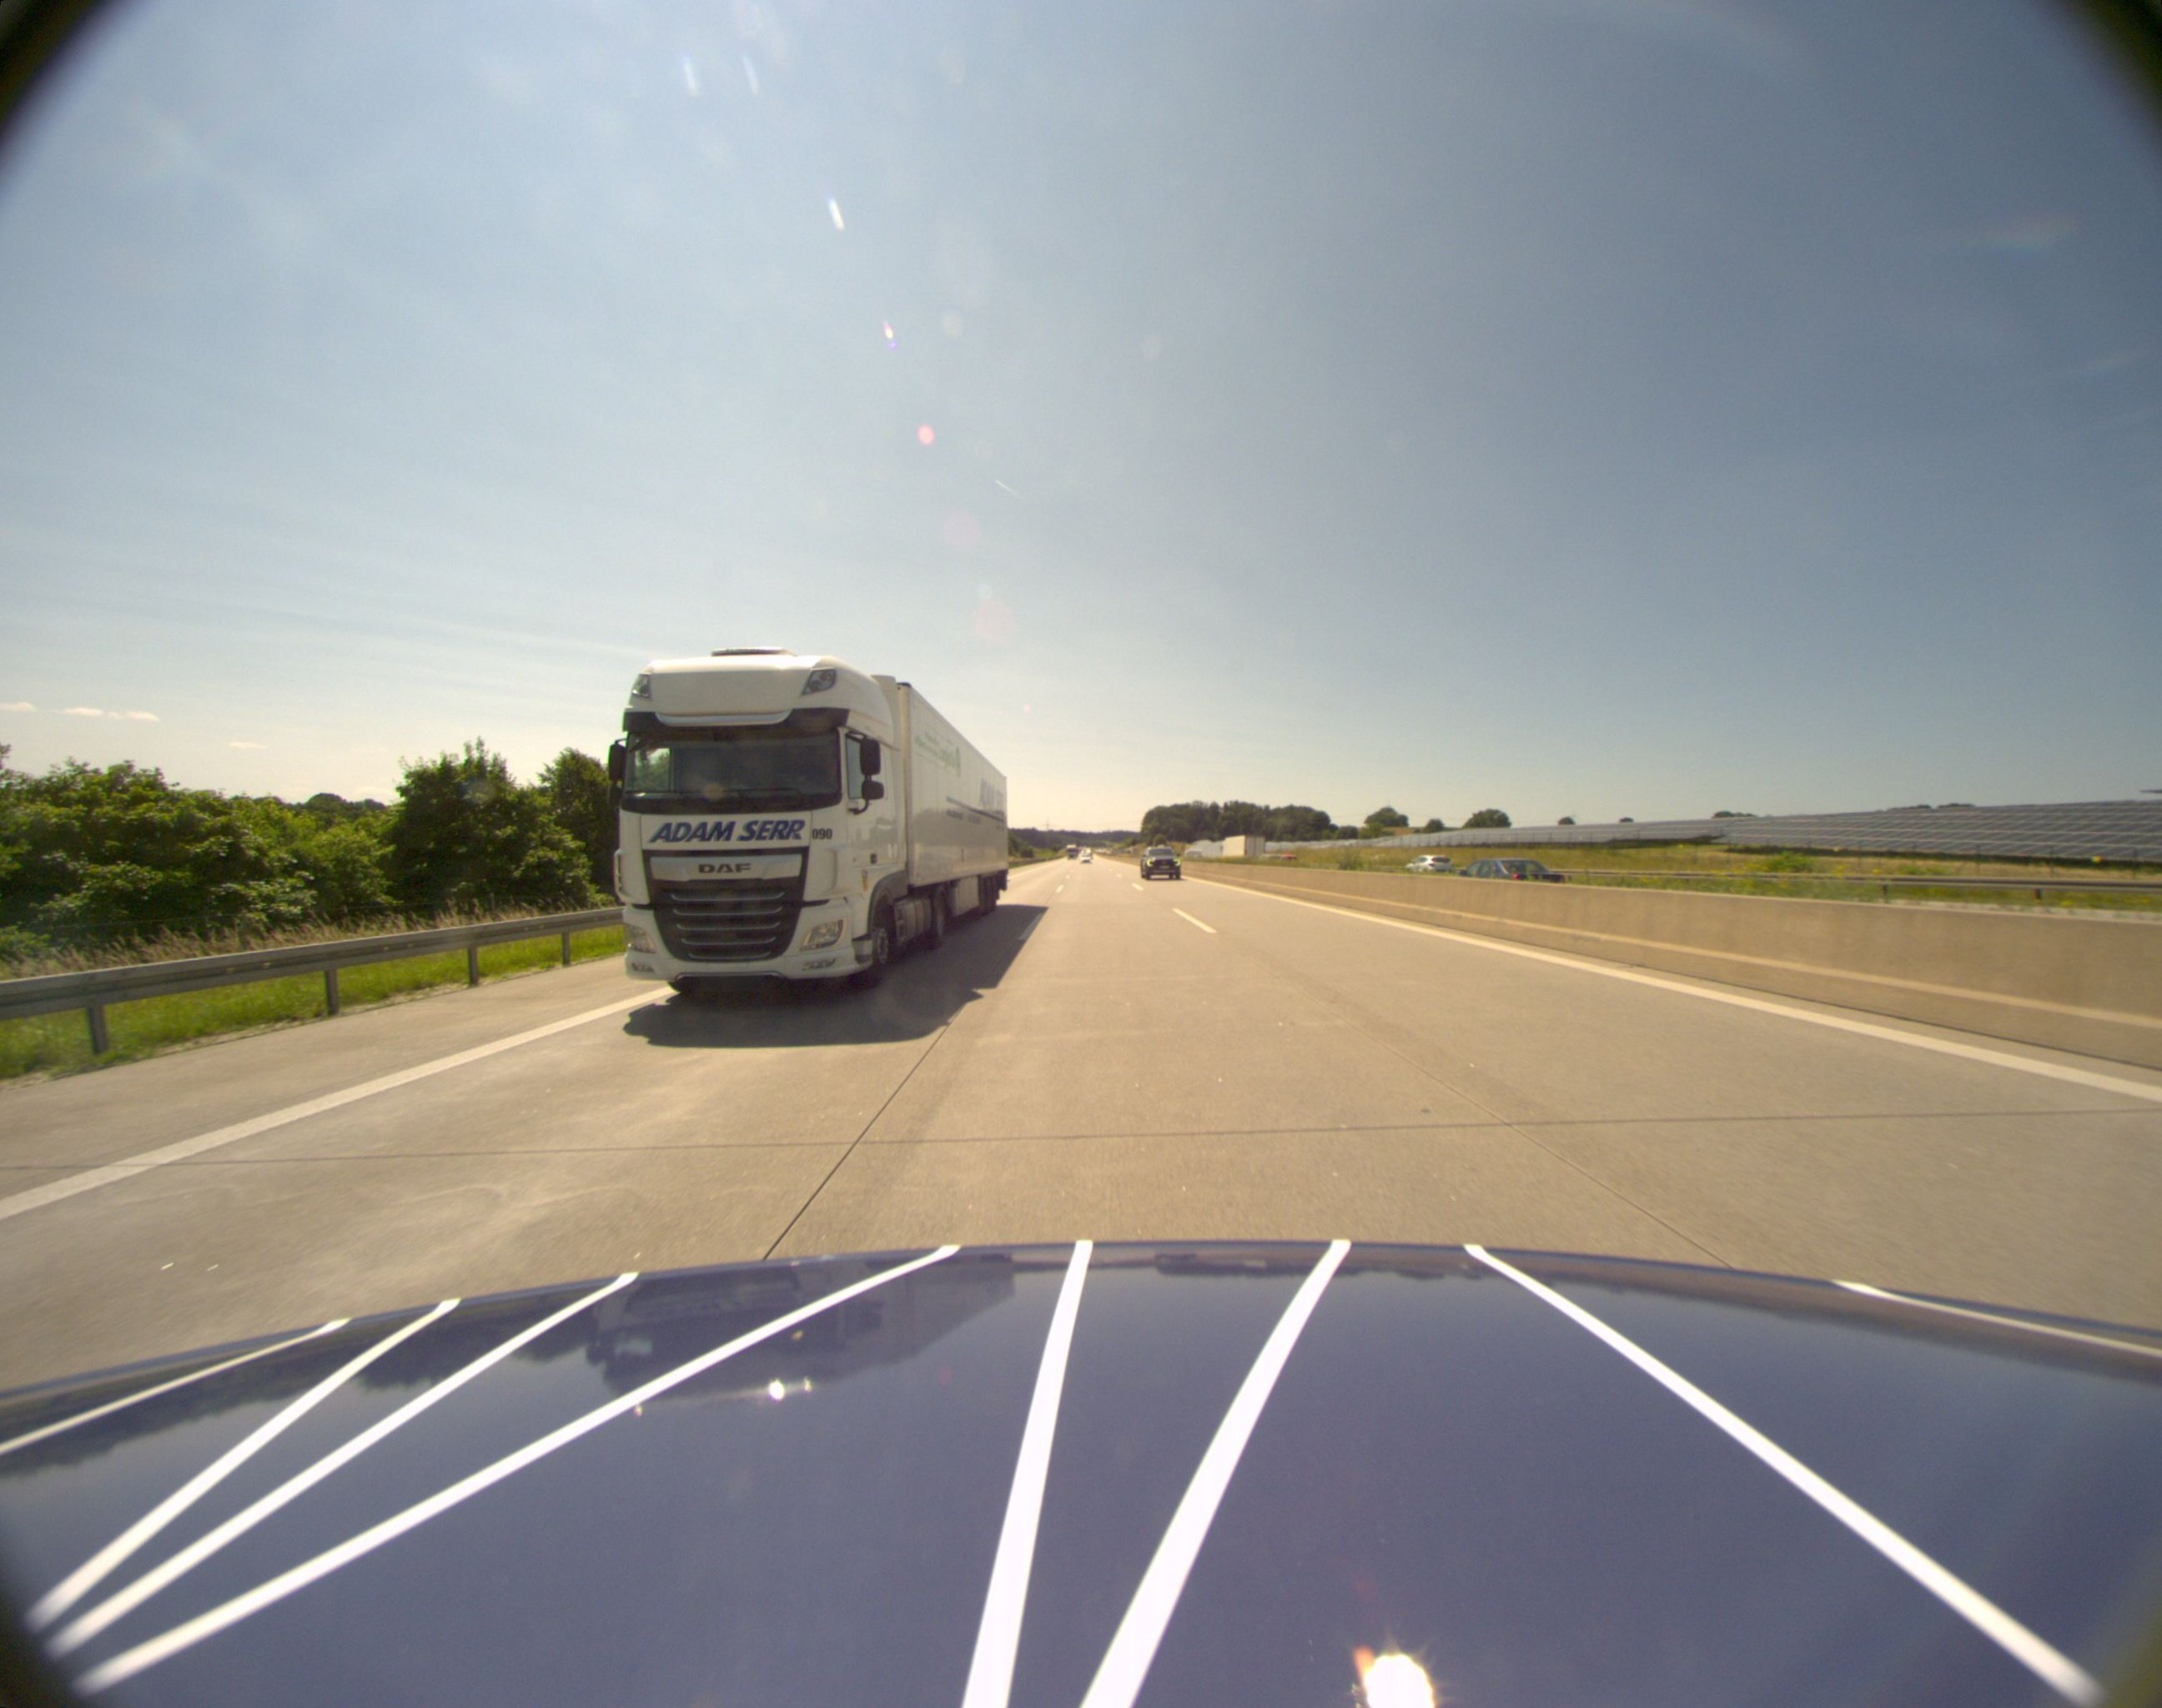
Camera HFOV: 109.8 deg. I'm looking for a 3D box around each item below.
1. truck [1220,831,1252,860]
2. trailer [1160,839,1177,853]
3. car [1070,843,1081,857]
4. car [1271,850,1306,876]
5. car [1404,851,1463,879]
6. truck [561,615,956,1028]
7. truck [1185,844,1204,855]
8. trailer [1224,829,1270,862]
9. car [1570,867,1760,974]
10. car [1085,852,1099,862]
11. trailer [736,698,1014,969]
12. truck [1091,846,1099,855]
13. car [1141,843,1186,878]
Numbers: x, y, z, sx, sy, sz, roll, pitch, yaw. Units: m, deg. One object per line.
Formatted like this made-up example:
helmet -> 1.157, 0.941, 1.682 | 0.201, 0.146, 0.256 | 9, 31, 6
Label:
truck -> 22.183, -1.244, 109.328 | 3.098, 3.981, 7.253 | -1, 1, 0
trailer -> 23.004, -2.161, 201.032 | 2.939, 3.530, 14.018 | 1, 1, 0
car -> -1.537, -1.166, 220.330 | 2.766, 4.029, 10.851 | 0, 1, 1
car -> 17.314, 0.719, 63.601 | 1.804, 2.002, 3.999 | -1, 1, 1
car -> 20.483, 0.611, 44.357 | 1.630, 1.474, 3.999 | -1, 1, 1
truck -> -3.700, -0.336, 10.499 | 2.819, 4.064, 5.798 | -1, 1, 0
truck -> 22.395, -0.879, 150.376 | 2.523, 2.002, 7.629 | -1, 1, 0
trailer -> 22.132, -1.161, 102.153 | 3.098, 3.981, 14.138 | -1, 1, 0
car -> 12.787, 1.353, 16.908 | 1.628, 2.002, 3.389 | -1, 1, 0
car -> 1.709, 0.420, 118.872 | 2.065, 1.472, 5.068 | -1, 1, 0
trailer -> -3.643, -0.350, 17.783 | 2.860, 4.019, 12.711 | -1, 0, 0
truck -> 3.787, -1.022, 206.029 | 2.263, 2.461, 6.614 | -1, 1, 1
car -> 4.676, 0.312, 43.780 | 1.998, 1.836, 6.529 | -2, 1, 2
